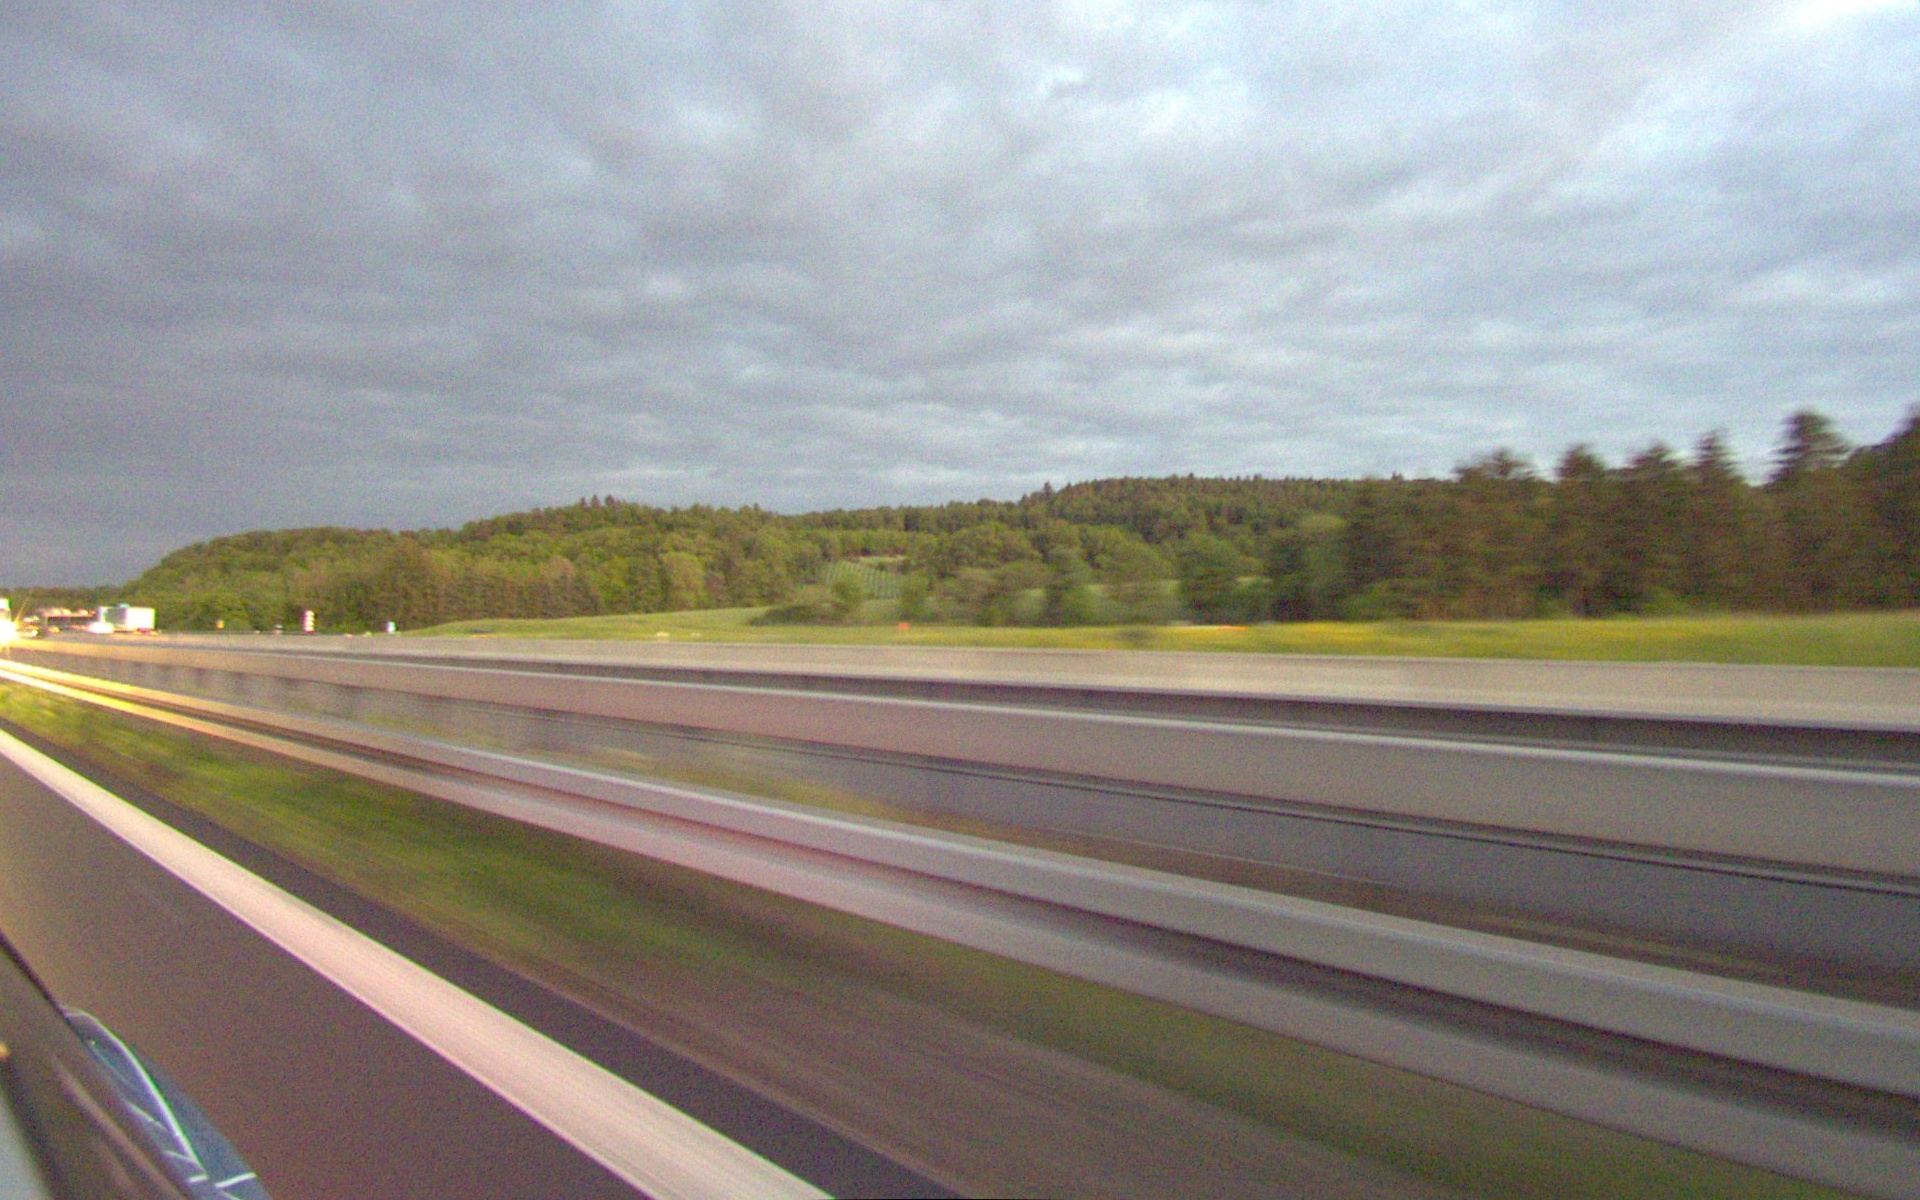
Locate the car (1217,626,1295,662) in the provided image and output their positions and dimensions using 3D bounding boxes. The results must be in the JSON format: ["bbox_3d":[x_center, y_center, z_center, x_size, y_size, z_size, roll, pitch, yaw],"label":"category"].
[{"bbox_3d":[17.478,2.568,59.813,3.998,2.029,1.973,-1,-3,41],"label":"car"}]

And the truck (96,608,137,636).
[{"bbox_3d":[-113.158,2.977,135.810,5.494,3.647,3.276,-1,-3,41],"label":"truck"}]

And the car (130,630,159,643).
[{"bbox_3d":[-88.758,3.968,110.100,4.211,1.259,1.734,-1,-3,41],"label":"car"}]

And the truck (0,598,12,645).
[{"bbox_3d":[-91.657,2.003,94.804,9.885,4.334,3.006,-1,-3,41],"label":"truck"}]

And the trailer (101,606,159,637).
[{"bbox_3d":[-107.338,2.805,130.767,13.877,3.794,3.292,-1,-3,41],"label":"trailer"}]

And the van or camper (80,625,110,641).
[{"bbox_3d":[-105.560,4.012,123.436,5.535,1.921,1.872,-2,-2,40],"label":"van or camper"}]
